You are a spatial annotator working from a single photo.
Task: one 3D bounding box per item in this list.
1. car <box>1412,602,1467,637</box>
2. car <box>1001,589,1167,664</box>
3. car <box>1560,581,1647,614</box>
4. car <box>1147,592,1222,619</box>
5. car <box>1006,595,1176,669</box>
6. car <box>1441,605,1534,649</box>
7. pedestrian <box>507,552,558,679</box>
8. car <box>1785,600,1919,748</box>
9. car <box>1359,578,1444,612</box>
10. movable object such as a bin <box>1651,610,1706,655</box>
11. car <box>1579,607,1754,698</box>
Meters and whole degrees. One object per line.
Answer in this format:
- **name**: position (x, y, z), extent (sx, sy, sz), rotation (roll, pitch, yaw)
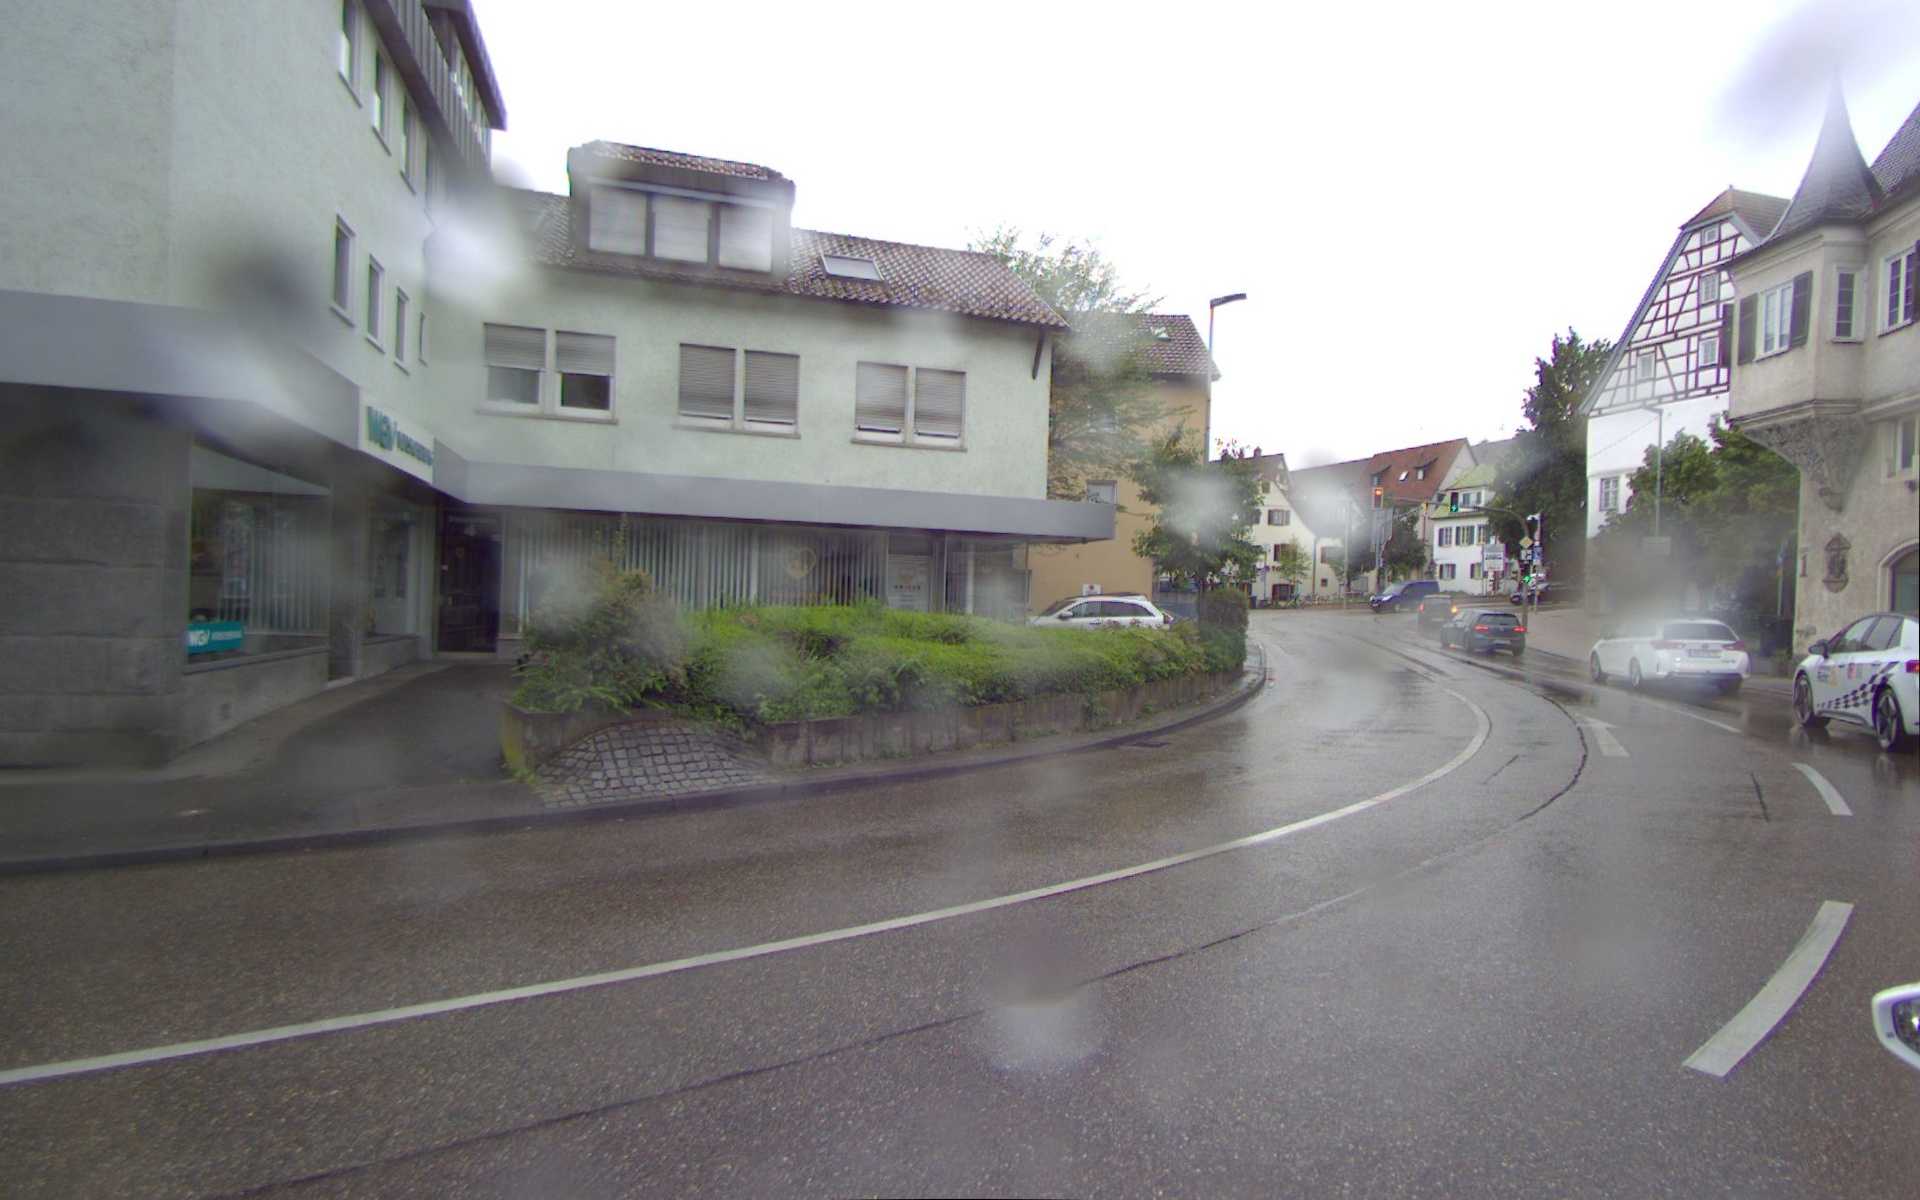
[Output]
- **car**: position (22.687, 0.909, 47.455), extent (1.564, 1.544, 3.417), rotation (2, 1, 39)
- **car**: position (3.826, 0.799, 31.530), extent (4.839, 1.850, 1.961), rotation (-4, 3, -3)
- **car**: position (40.551, -0.168, 63.353), extent (4.296, 1.907, 1.998), rotation (1, 1, -7)
- **car**: position (14.175, 0.363, 63.545), extent (4.404, 1.566, 1.865), rotation (1, -1, 6)
- **car**: position (3.085, 0.740, 24.012), extent (3.581, 1.651, 1.996), rotation (1, 0, -11)
- **car**: position (17.810, 0.875, 34.115), extent (1.960, 1.319, 4.001), rotation (1, 1, 15)
- **pedestrian**: position (-6.357, 0.220, 14.954), extent (0.663, 1.844, 0.614), rotation (1, 1, -22)
- **car**: position (11.287, 0.773, 11.587), extent (1.828, 1.492, 3.995), rotation (2, 1, 26)
- **car**: position (26.458, -0.319, 60.229), extent (4.303, 1.907, 1.995), rotation (1, 1, -13)
- **movable object such as a bin**: position (22.686, 1.010, 31.754), extent (1.136, 1.330, 1.186), rotation (1, 1, 22)
- **car**: position (14.551, 0.988, 20.991), extent (1.854, 1.617, 4.325), rotation (2, 1, 20)
